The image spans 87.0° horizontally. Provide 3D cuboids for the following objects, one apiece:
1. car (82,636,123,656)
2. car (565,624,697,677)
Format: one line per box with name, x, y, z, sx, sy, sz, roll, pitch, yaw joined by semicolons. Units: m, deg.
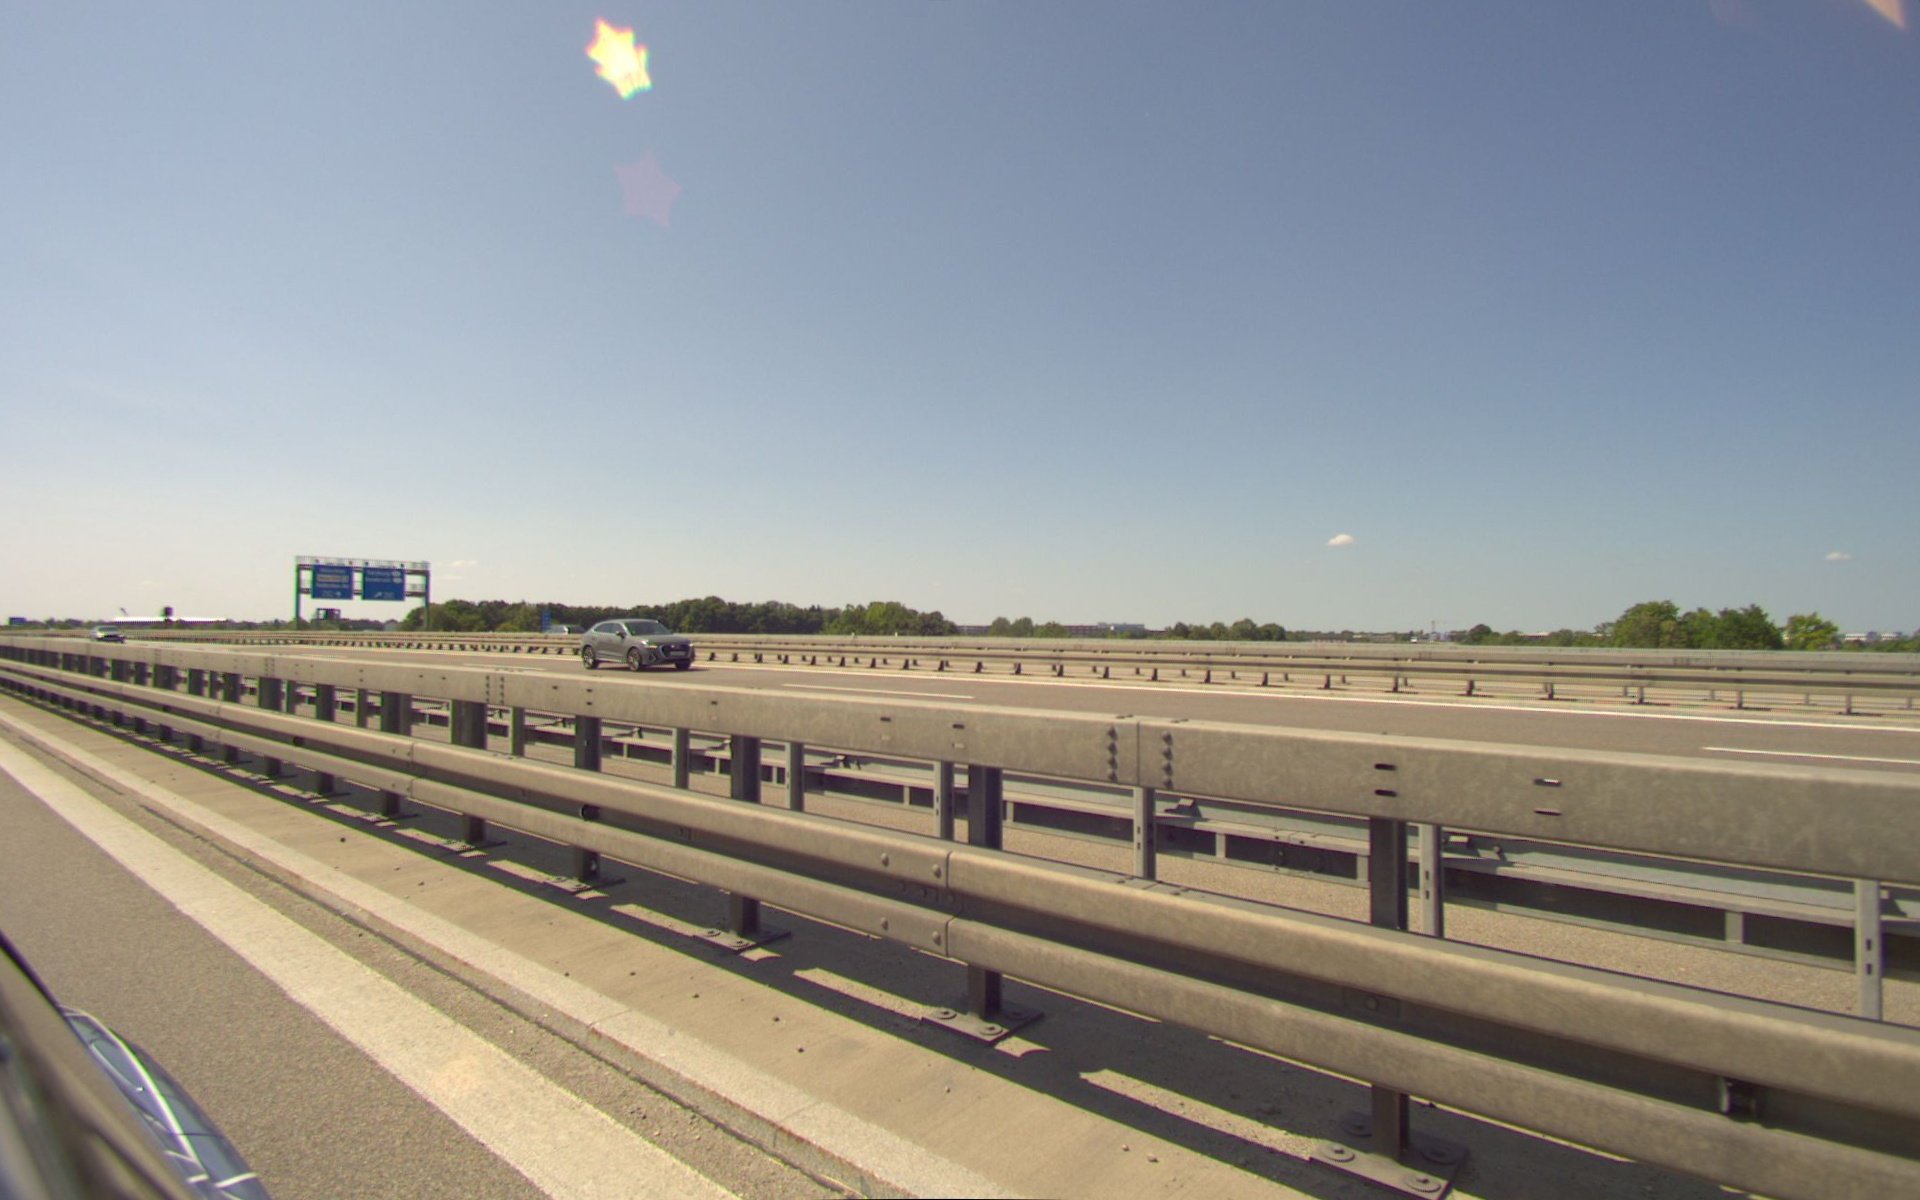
car;-68.332;3.647;80.616;4.573;1.529;1.818;-1;-2;41
car;-10.229;1.502;31.273;4.573;1.529;1.818;-1;-2;41
